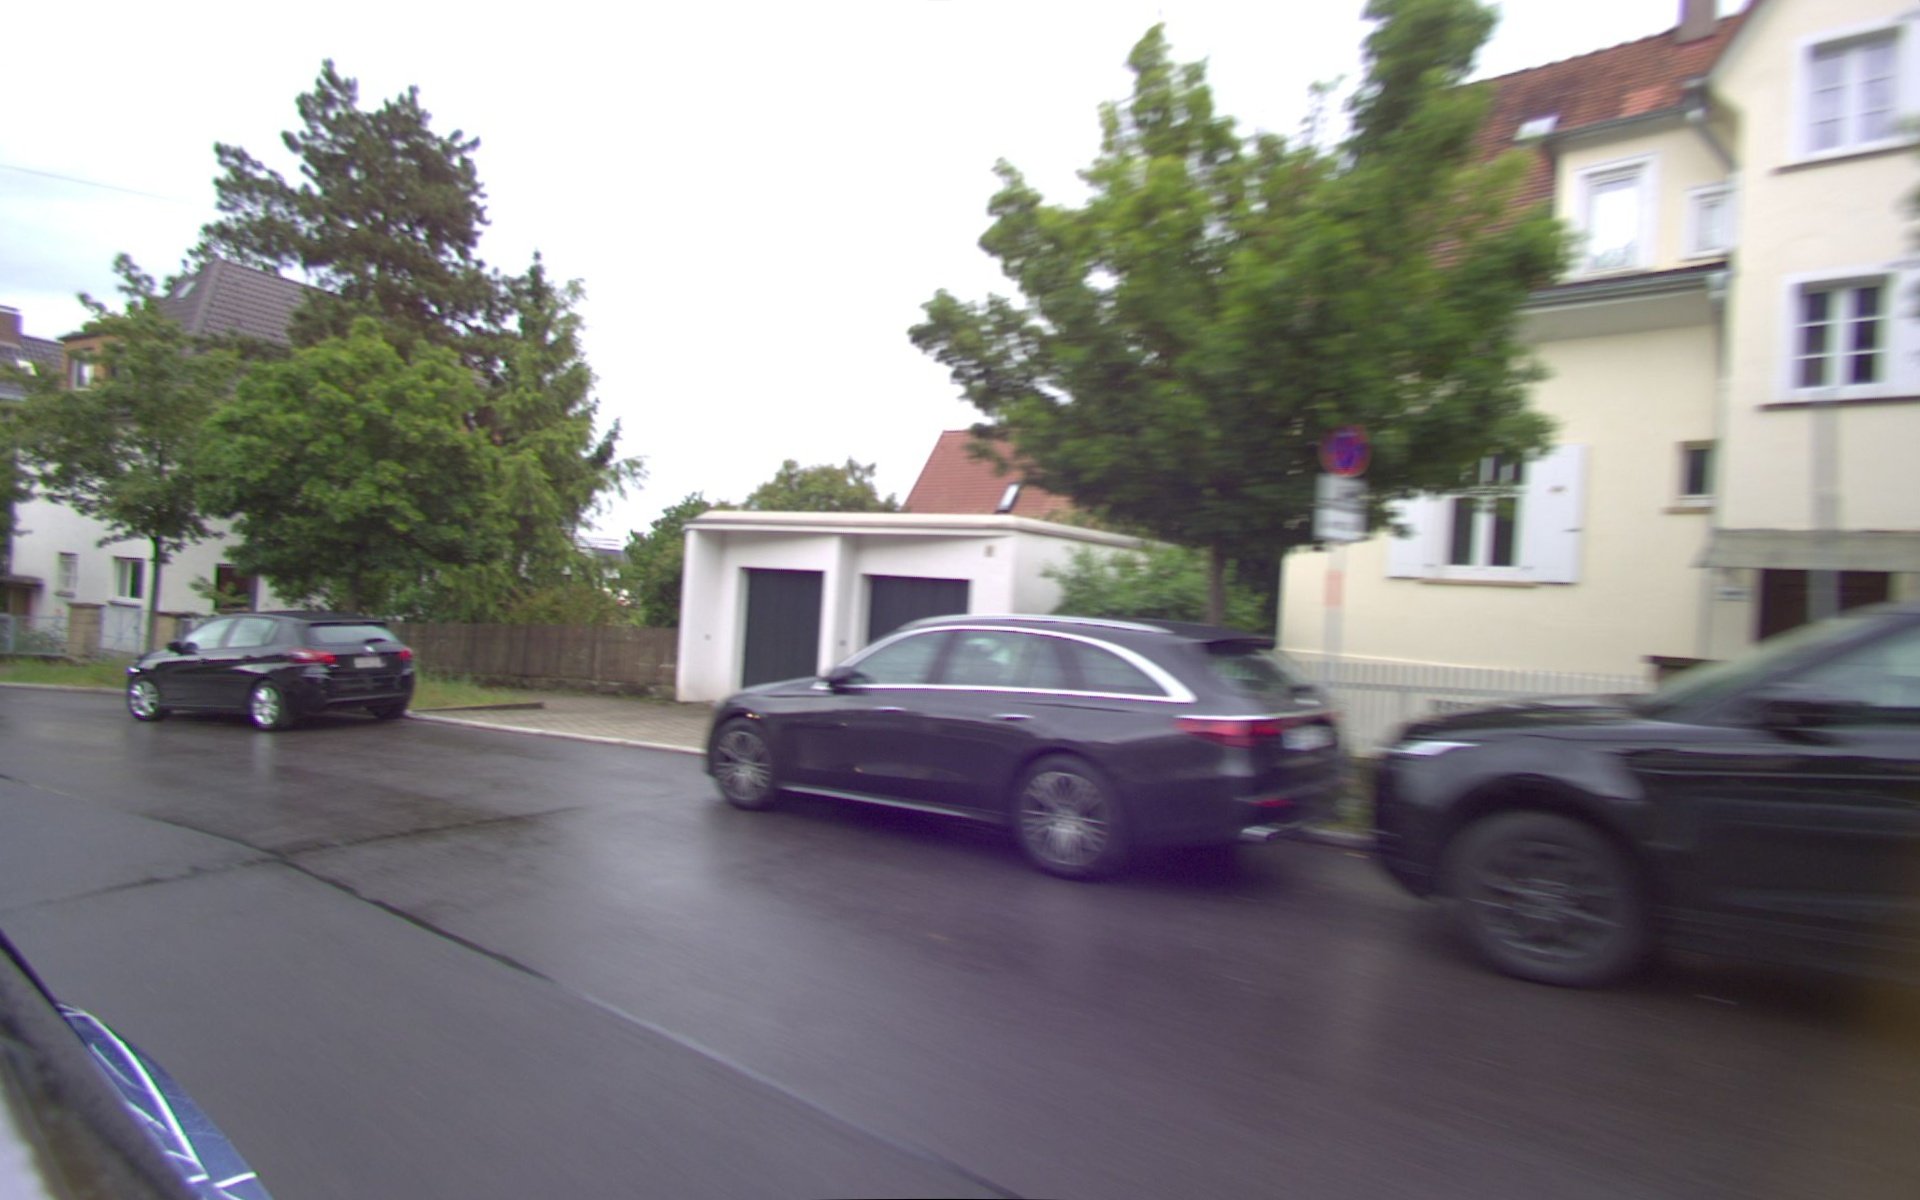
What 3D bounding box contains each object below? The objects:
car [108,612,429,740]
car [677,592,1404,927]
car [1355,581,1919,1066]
[{"bbox_3d":[-9.124,0.921,13.361,3.870,1.477,1.662,0,-2,23],"label":"car"},{"bbox_3d":[0.246,0.770,7.028,4.901,1.557,1.847,0,-1,40],"label":"car"},{"bbox_3d":[3.872,0.731,3.711,4.208,1.557,1.715,0,-1,41],"label":"car"}]
